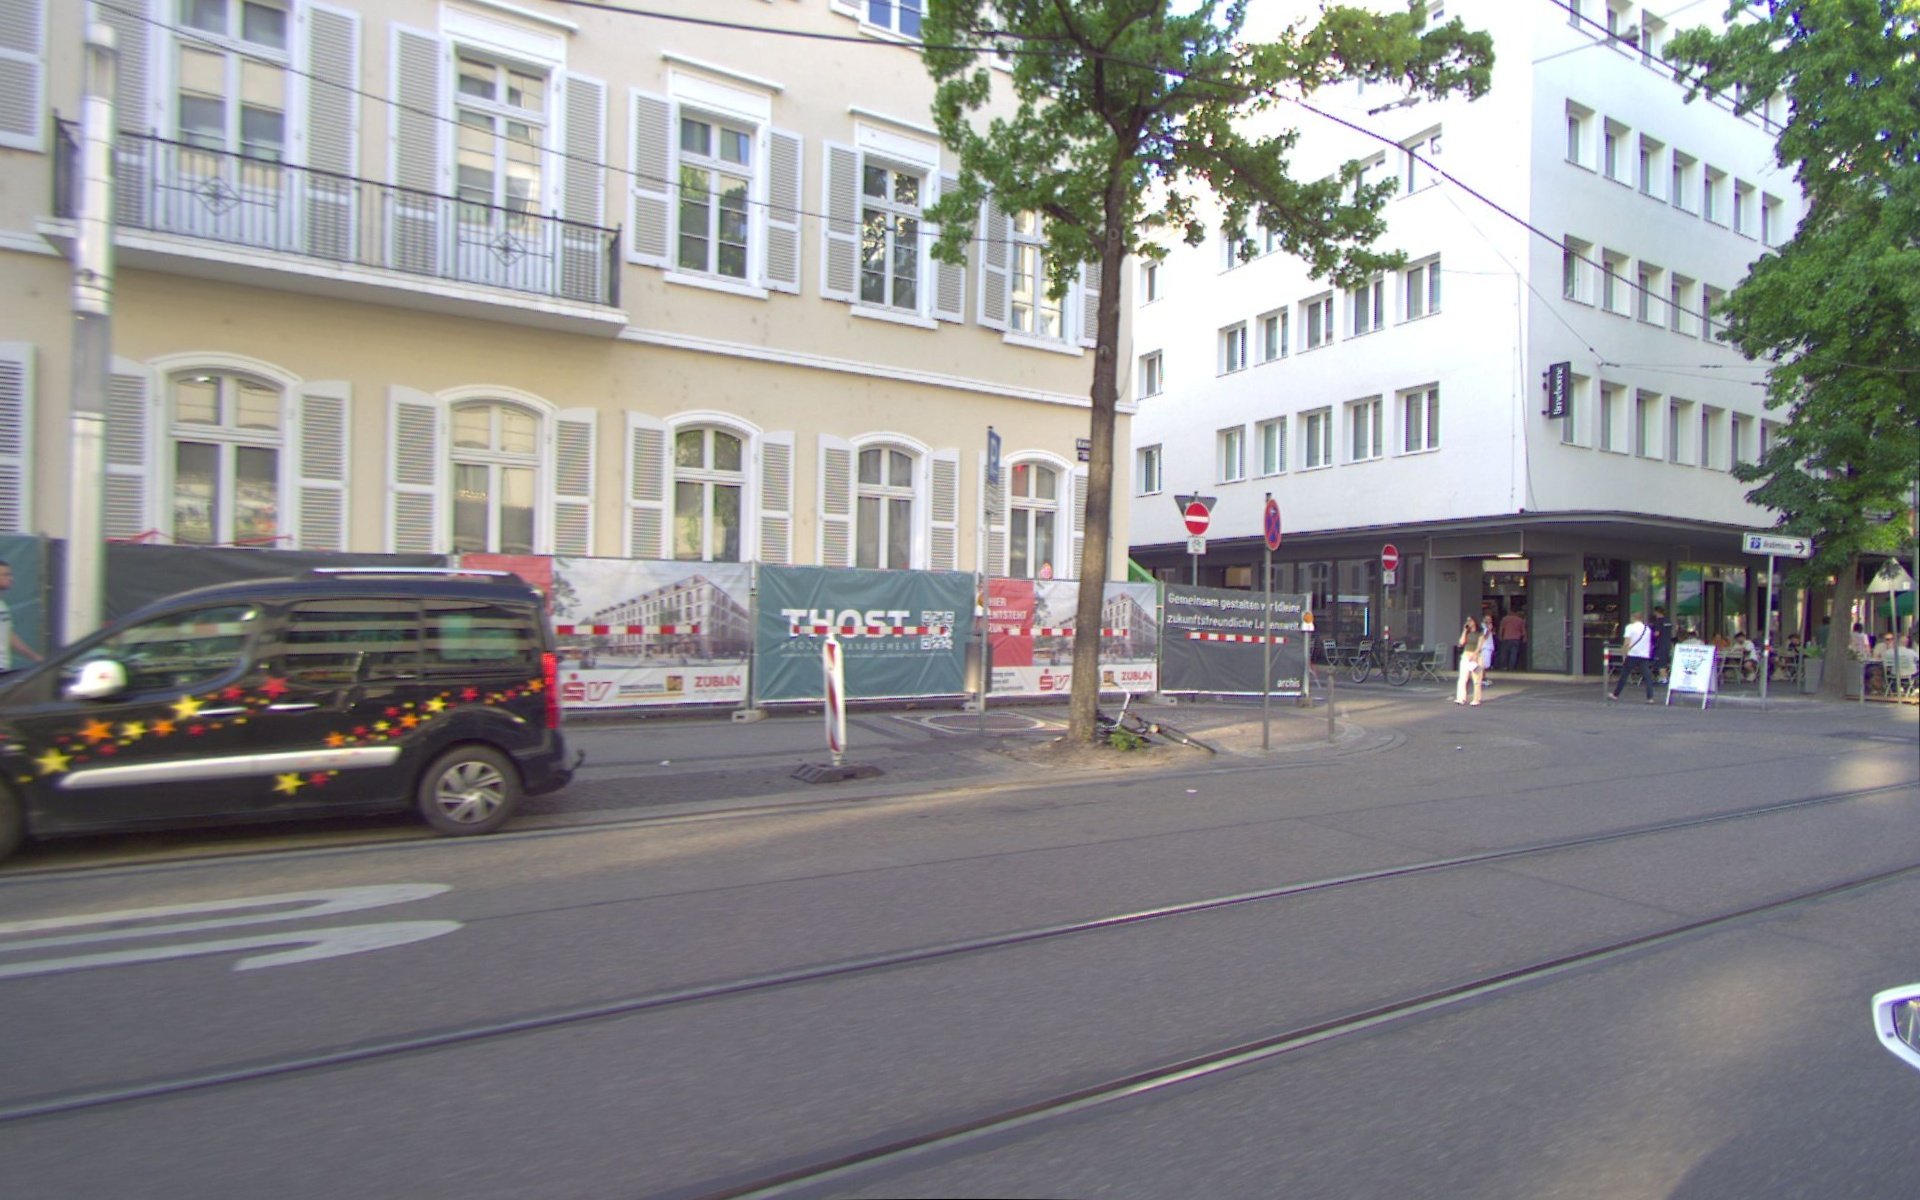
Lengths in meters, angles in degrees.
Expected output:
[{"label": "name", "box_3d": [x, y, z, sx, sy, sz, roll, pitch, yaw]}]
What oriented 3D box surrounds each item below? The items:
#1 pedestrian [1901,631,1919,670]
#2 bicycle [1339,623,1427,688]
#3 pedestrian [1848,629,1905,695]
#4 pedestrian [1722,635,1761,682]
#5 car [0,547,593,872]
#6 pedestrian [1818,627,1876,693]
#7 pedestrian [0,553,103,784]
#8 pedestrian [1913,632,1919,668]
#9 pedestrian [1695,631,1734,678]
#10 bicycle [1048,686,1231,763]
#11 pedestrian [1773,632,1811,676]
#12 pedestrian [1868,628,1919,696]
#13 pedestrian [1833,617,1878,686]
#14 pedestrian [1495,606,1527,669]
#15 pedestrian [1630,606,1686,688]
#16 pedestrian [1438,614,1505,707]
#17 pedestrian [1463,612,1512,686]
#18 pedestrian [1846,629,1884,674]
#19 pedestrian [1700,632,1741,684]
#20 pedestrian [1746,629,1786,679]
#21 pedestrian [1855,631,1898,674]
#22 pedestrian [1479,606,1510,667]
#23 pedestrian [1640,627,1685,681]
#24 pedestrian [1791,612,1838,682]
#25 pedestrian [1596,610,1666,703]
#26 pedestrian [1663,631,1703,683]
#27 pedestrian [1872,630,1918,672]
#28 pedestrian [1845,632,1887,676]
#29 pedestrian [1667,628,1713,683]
[{"label": "pedestrian", "box_3d": [31.202, 1.655, 32.604, 0.779, 1.230, 0.733, 1, 2, -30]}, {"label": "bicycle", "box_3d": [9.892, 1.263, 23.536, 0.703, 1.399, 1.867, -2, 1, -27]}, {"label": "pedestrian", "box_3d": [20.499, 1.372, 22.477, 0.797, 1.405, 0.686, 1, 1, -29]}, {"label": "pedestrian", "box_3d": [20.268, 1.504, 26.043, 0.678, 1.177, 0.550, 1, 1, -29]}, {"label": "car", "box_3d": [-5.076, 0.640, 7.007, 4.502, 1.857, 1.850, 1, 0, -28]}, {"label": "pedestrian", "box_3d": [19.614, 1.317, 22.214, 0.797, 1.405, 0.686, 1, 1, -29]}, {"label": "pedestrian", "box_3d": [-7.786, 0.532, 8.249, 0.972, 1.816, 0.771, 1, 2, -28]}, {"label": "pedestrian", "box_3d": [32.194, 1.681, 33.252, 0.779, 1.184, 0.696, 1, 2, -30]}, {"label": "pedestrian", "box_3d": [19.890, 1.427, 26.484, 0.678, 1.177, 0.550, 1, 1, -29]}, {"label": "bicycle", "box_3d": [2.023, 1.395, 11.590, 1.265, 0.617, 1.789, 1, 0, -26]}, {"label": "pedestrian", "box_3d": [22.817, 1.469, 27.542, 0.678, 1.177, 0.550, 1, 1, -29]}, {"label": "pedestrian", "box_3d": [20.065, 1.315, 21.494, 0.797, 1.405, 0.686, 1, 1, -29]}, {"label": "pedestrian", "box_3d": [22.712, 1.294, 25.484, 0.689, 1.693, 0.616, 1, 1, -30]}, {"label": "pedestrian", "box_3d": [14.313, 0.970, 26.099, 0.608, 1.625, 0.405, 1, 0, 4]}, {"label": "pedestrian", "box_3d": [16.217, 1.081, 23.351, 0.751, 1.840, 0.685, 1, 1, -14]}, {"label": "pedestrian", "box_3d": [9.541, 1.102, 18.750, 0.955, 1.678, 0.704, 0, 0, -28]}, {"label": "pedestrian", "box_3d": [12.172, 1.110, 23.170, 0.787, 1.636, 0.860, 1, 2, 44]}, {"label": "pedestrian", "box_3d": [27.577, 1.565, 30.609, 0.689, 1.327, 0.616, 1, 2, -30]}, {"label": "pedestrian", "box_3d": [18.906, 1.441, 24.973, 0.678, 1.252, 0.550, 1, 1, -29]}, {"label": "pedestrian", "box_3d": [21.955, 1.451, 27.367, 0.678, 1.316, 0.599, 1, 1, -29]}, {"label": "pedestrian", "box_3d": [28.359, 1.606, 31.077, 0.779, 1.248, 0.733, 1, 2, -30]}, {"label": "pedestrian", "box_3d": [14.465, 0.990, 27.175, 0.608, 1.625, 0.405, 1, 0, 4]}, {"label": "pedestrian", "box_3d": [17.567, 1.337, 25.130, 0.729, 1.286, 0.642, 1, 1, -29]}, {"label": "pedestrian", "box_3d": [22.204, 1.215, 26.113, 0.688, 1.780, 0.675, 1, 1, -28]}, {"label": "pedestrian", "box_3d": [13.098, 1.085, 19.626, 0.848, 1.764, 0.798, 0, 0, 4]}, {"label": "pedestrian", "box_3d": [18.327, 1.439, 25.455, 0.678, 1.252, 0.550, 1, 1, -29]}, {"label": "pedestrian", "box_3d": [29.446, 1.587, 31.644, 0.934, 1.254, 0.773, 1, 2, -30]}, {"label": "pedestrian", "box_3d": [26.631, 1.579, 29.526, 0.789, 1.259, 0.666, 1, 1, -30]}, {"label": "pedestrian", "box_3d": [17.816, 1.349, 24.514, 0.719, 1.299, 0.624, 1, 1, -29]}]
